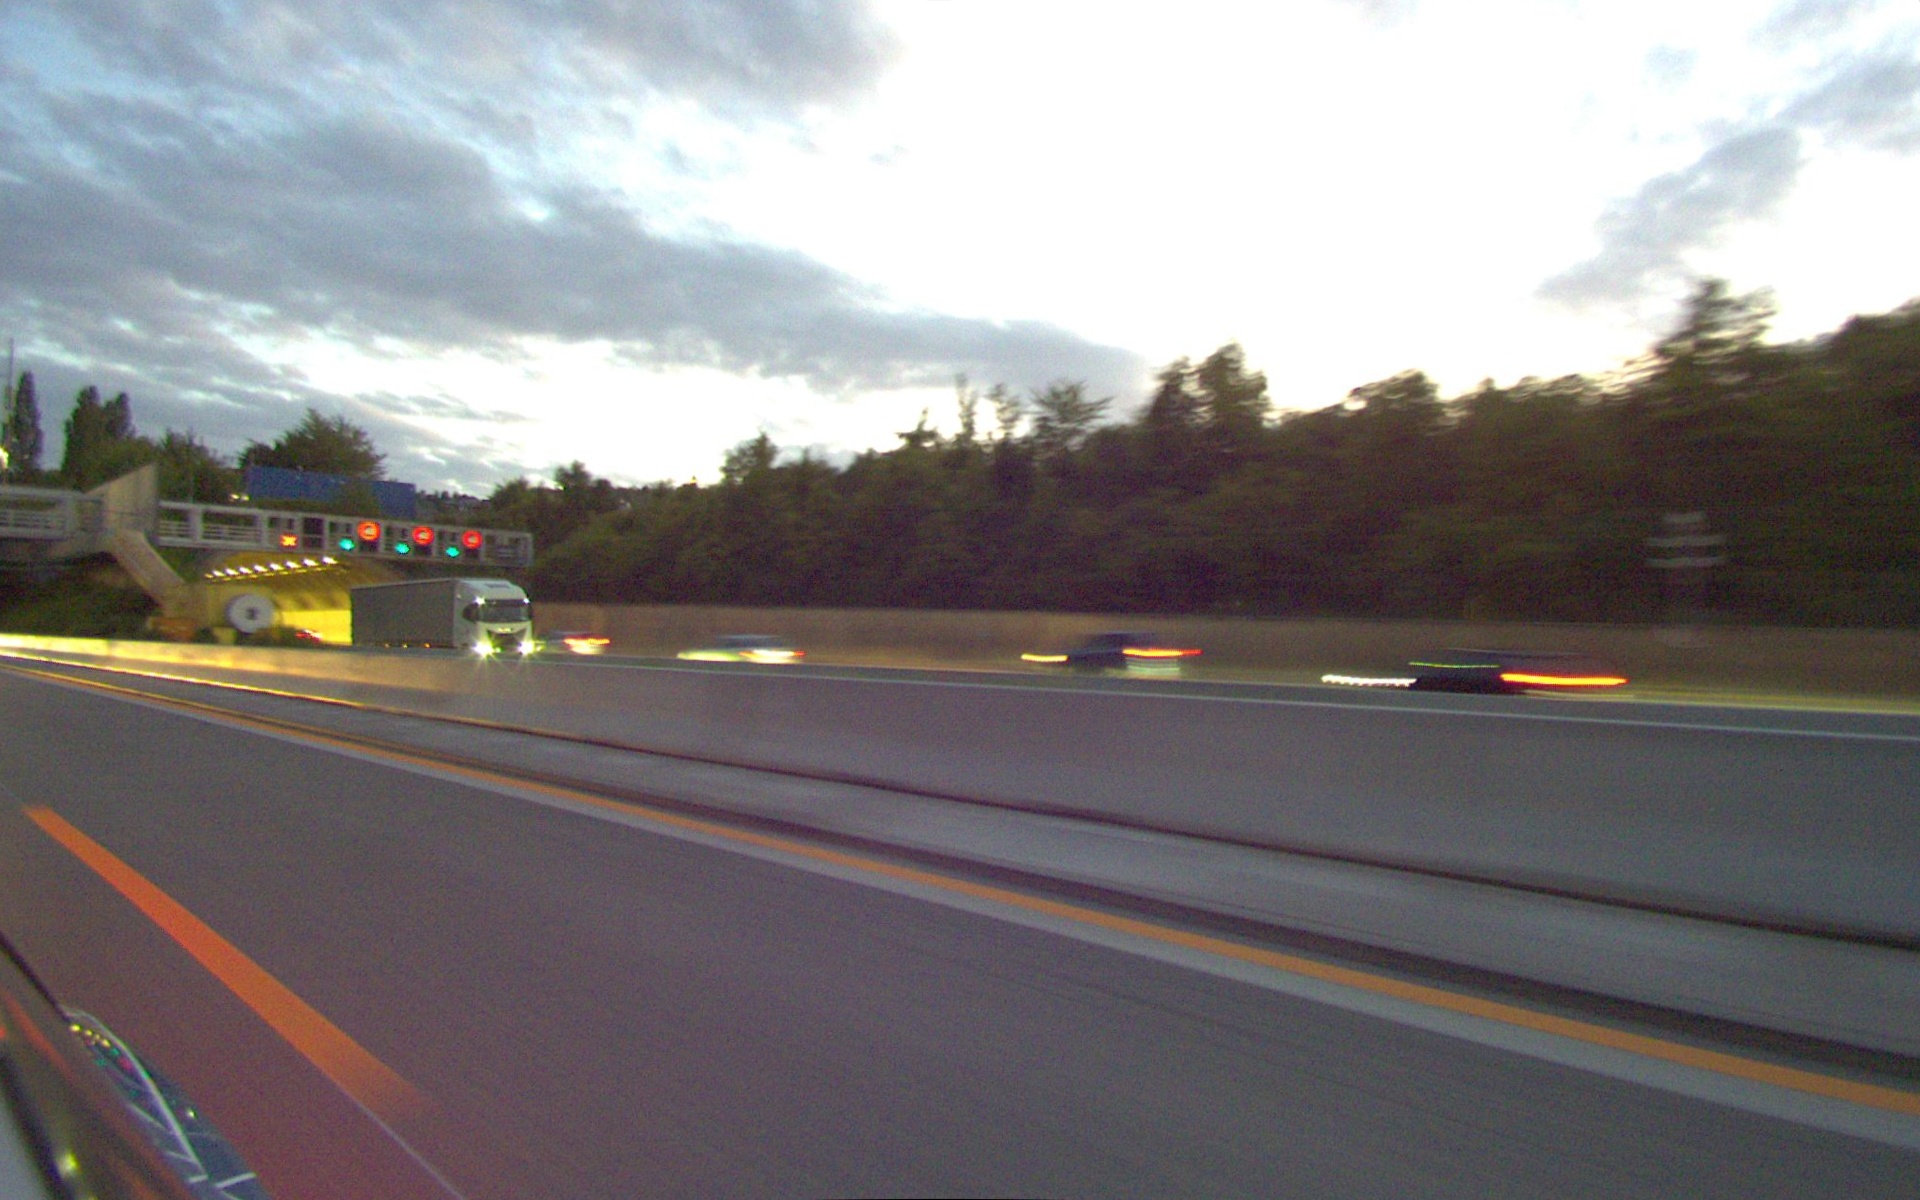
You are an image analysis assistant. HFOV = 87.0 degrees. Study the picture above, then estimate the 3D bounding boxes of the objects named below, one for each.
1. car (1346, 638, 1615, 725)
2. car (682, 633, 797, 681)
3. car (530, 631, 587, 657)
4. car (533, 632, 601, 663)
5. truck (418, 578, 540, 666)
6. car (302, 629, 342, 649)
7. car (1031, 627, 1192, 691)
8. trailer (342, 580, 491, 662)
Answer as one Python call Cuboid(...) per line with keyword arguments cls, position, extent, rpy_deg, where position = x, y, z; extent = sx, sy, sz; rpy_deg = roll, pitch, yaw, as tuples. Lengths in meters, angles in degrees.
Cuboid(cls="car", position=(10.690, 1.600, 21.029), extent=(4.670, 1.465, 1.731), rpy_deg=(-1, 0, 43))
Cuboid(cls="car", position=(-8.572, 2.148, 39.143), extent=(4.875, 1.600, 1.788), rpy_deg=(-1, 0, 41))
Cuboid(cls="car", position=(-24.617, 2.676, 62.013), extent=(4.226, 1.481, 1.559), rpy_deg=(-1, -2, 43))
Cuboid(cls="car", position=(-21.365, 2.531, 54.934), extent=(4.647, 1.481, 1.654), rpy_deg=(-1, 0, 44))
Cuboid(cls="truck", position=(-22.275, 0.953, 46.736), extent=(6.300, 3.803, 2.773), rpy_deg=(-1, 0, 41))
Cuboid(cls="car", position=(-53.490, 3.232, 84.812), extent=(3.789, 1.582, 1.779), rpy_deg=(-1, 0, 41))
Cuboid(cls="car", position=(4.577, 1.743, 30.988), extent=(4.668, 1.735, 1.732), rpy_deg=(-1, 0, 41))
Cuboid(cls="trailer", position=(-28.116, 1.027, 51.930), extent=(11.830, 3.811, 2.769), rpy_deg=(-1, 0, 41))
